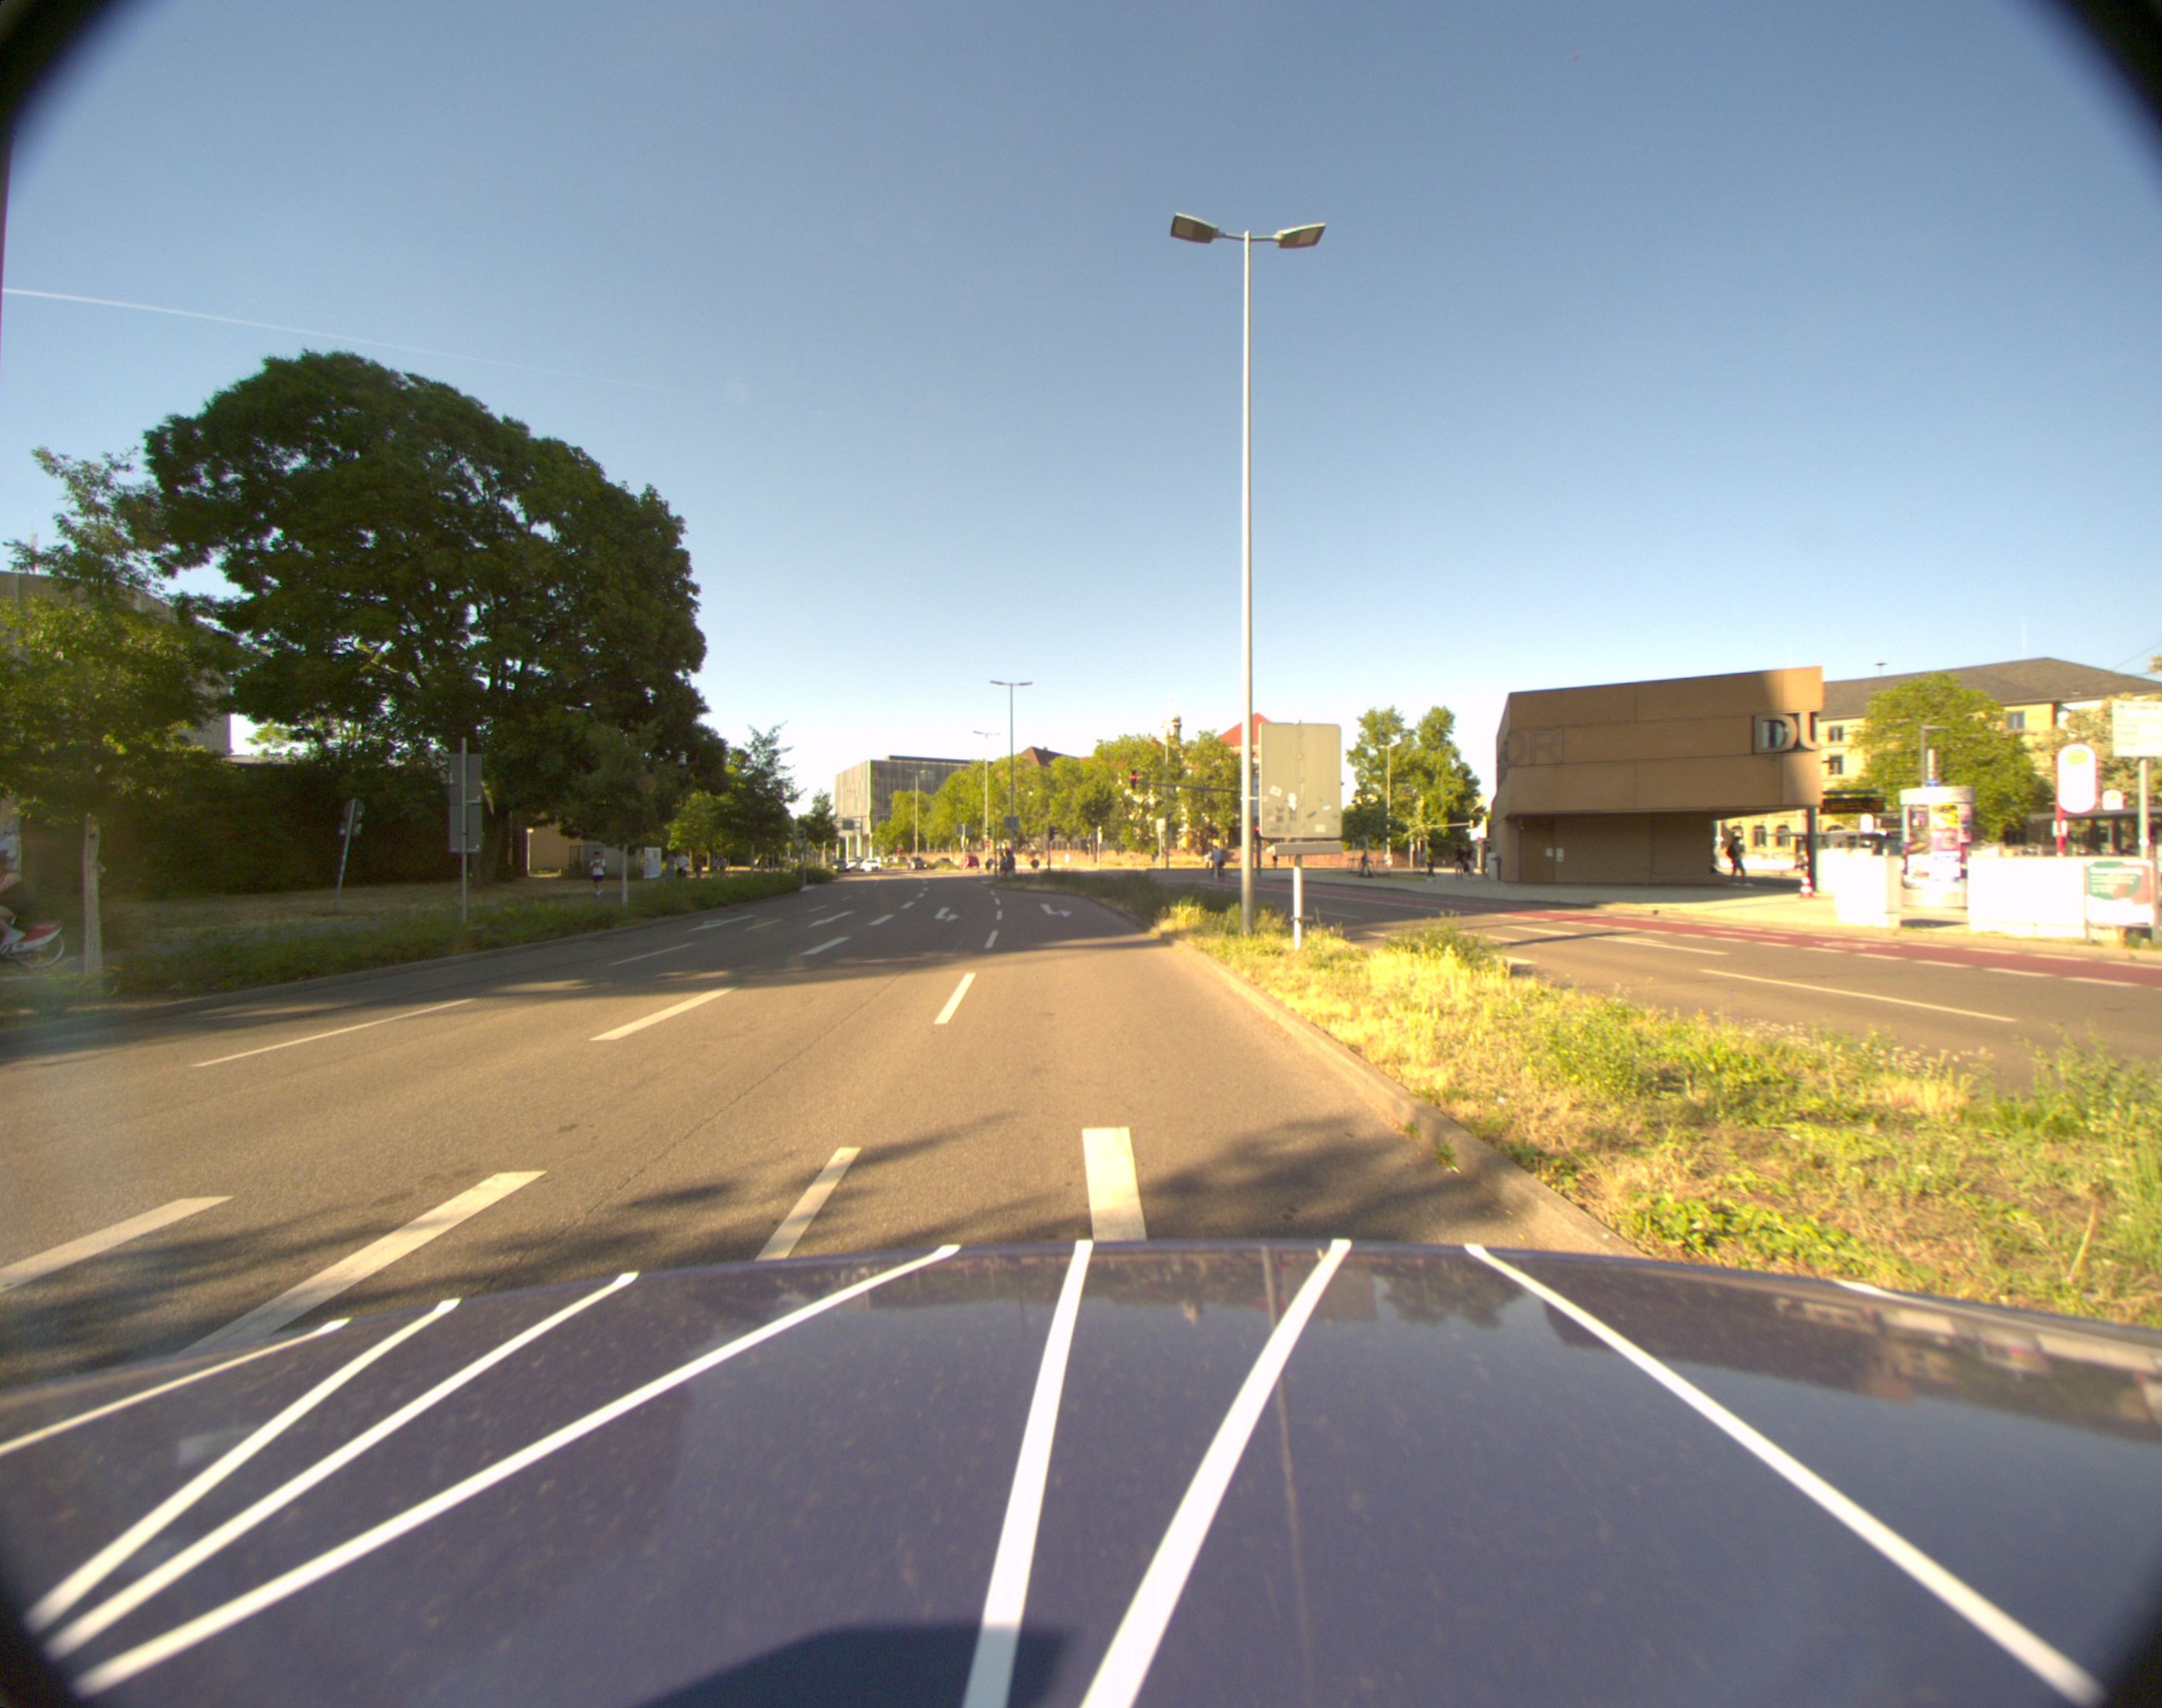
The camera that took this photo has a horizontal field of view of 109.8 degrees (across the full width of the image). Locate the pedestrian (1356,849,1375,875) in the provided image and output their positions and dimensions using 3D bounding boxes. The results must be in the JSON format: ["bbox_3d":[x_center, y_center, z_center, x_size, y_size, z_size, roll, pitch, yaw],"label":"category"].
[{"bbox_3d":[18.487,0.529,49.418,0.900,1.675,0.747,-1,0,-10],"label":"pedestrian"}]

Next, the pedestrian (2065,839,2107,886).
[{"bbox_3d":[42.546,0.366,32.170,0.814,1.970,0.756,1,0,28],"label":"pedestrian"}]

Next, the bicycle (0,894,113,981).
[{"bbox_3d":[-15.193,1.195,10.596,0.719,1.115,2.066,-2,1,-1],"label":"bicycle"}]

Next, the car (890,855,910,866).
[{"bbox_3d":[-28.670,1.027,120.509,2.198,1.674,4.597,-1,0,-25],"label":"car"}]

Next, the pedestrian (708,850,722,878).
[{"bbox_3d":[-22.599,0.631,46.945,0.677,1.694,0.875,-1,1,-30],"label":"pedestrian"}]

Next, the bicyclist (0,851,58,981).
[{"bbox_3d":[-15.210,0.864,10.559,0.717,1.778,0.849,-2,1,-1],"label":"bicyclist"}]

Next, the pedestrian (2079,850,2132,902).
[{"bbox_3d":[39.250,0.837,29.127,0.978,1.970,0.720,1,0,28],"label":"pedestrian"}]

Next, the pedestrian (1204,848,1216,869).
[{"bbox_3d":[12.027,0.435,71.111,0.873,1.884,0.711,0,4,-12],"label":"pedestrian"}]

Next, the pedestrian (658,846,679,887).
[{"bbox_3d":[-19.011,0.559,35.049,0.575,1.858,0.624,0,1,26],"label":"pedestrian"}]

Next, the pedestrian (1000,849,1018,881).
[{"bbox_3d":[-3.907,0.585,41.305,0.928,1.731,0.756,-1,1,-10],"label":"pedestrian"}]

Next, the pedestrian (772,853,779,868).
[{"bbox_3d":[-35.137,0.716,87.274,0.713,1.703,0.732,-1,1,-25],"label":"pedestrian"}]

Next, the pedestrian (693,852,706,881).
[{"bbox_3d":[-20.533,0.670,40.909,0.623,1.565,0.638,-1,1,-25],"label":"pedestrian"}]

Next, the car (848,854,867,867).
[{"bbox_3d":[-27.990,0.785,94.990,1.927,1.510,4.010,0,0,-22],"label":"car"}]

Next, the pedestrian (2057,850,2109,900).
[{"bbox_3d":[40.281,0.848,30.568,0.994,1.970,0.830,1,0,28],"label":"pedestrian"}]

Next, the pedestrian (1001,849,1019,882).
[{"bbox_3d":[-3.789,0.589,40.469,0.928,1.731,0.756,-1,1,-10],"label":"pedestrian"}]

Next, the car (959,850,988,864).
[{"bbox_3d":[-12.630,0.352,89.326,2.198,1.576,4.597,-1,0,-23],"label":"car"}]

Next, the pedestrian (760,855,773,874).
[{"bbox_3d":[-27.999,0.922,67.655,1.020,1.739,0.847,0,1,-31],"label":"pedestrian"}]

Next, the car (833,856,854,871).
[{"bbox_3d":[-24.952,0.977,79.777,1.805,1.510,3.992,0,0,-22],"label":"car"}]

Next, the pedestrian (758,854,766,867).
[{"bbox_3d":[-37.640,0.771,89.757,0.764,1.534,0.845,0,1,-31],"label":"pedestrian"}]

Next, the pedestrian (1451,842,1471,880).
[{"bbox_3d":[17.090,0.332,34.150,0.638,1.678,0.551,-2,-1,14],"label":"pedestrian"}]

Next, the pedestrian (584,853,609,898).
[{"bbox_3d":[-18.413,0.816,28.875,0.623,1.689,0.629,0,1,-17],"label":"pedestrian"}]

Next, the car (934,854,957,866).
[{"bbox_3d":[-19.170,0.839,107.532,2.198,1.576,4.597,-1,0,-24],"label":"car"}]

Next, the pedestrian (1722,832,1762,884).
[{"bbox_3d":[25.474,0.165,29.303,0.978,1.970,0.720,1,0,26],"label":"pedestrian"}]

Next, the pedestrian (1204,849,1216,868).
[{"bbox_3d":[11.960,0.416,70.277,0.873,1.665,0.711,0,4,-12],"label":"pedestrian"}]

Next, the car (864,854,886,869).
[{"bbox_3d":[-22.271,0.775,82.203,1.805,1.510,4.423,0,0,-22],"label":"car"}]

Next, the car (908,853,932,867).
[{"bbox_3d":[-17.741,0.659,83.811,1.927,1.510,4.010,0,0,-22],"label":"car"}]

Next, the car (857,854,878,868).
[{"bbox_3d":[-25.044,0.793,88.988,1.927,1.510,4.010,0,0,-22],"label":"car"}]

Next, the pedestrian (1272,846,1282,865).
[{"bbox_3d":[17.673,0.132,68.496,0.791,1.644,0.713,2,4,17],"label":"pedestrian"}]

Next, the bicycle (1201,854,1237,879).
[{"bbox_3d":[7.265,0.657,40.151,0.743,1.248,2.552,-1,1,-18],"label":"bicycle"}]

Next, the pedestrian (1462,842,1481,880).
[{"bbox_3d":[18.025,0.341,35.089,0.734,1.720,0.666,-2,-1,25],"label":"pedestrian"}]

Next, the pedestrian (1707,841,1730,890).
[{"bbox_3d":[26.471,0.498,31.553,0.613,2.001,0.809,-2,-1,37],"label":"pedestrian"}]

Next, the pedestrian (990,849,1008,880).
[{"bbox_3d":[-4.602,0.579,42.627,0.928,1.731,0.756,-1,1,-10],"label":"pedestrian"}]

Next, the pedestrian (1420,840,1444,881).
[{"bbox_3d":[16.064,0.303,34.786,0.718,1.824,0.639,-1,-1,1],"label":"pedestrian"}]

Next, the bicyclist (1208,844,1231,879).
[{"bbox_3d":[7.295,0.367,40.043,0.743,1.822,1.012,-1,2,-18],"label":"bicyclist"}]

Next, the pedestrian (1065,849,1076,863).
[{"bbox_3d":[-1.161,0.222,87.888,0.975,1.528,0.921,-1,1,-25],"label":"pedestrian"}]

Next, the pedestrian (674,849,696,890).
[{"bbox_3d":[-18.277,0.707,35.069,0.575,1.858,0.624,0,1,26],"label":"pedestrian"}]
